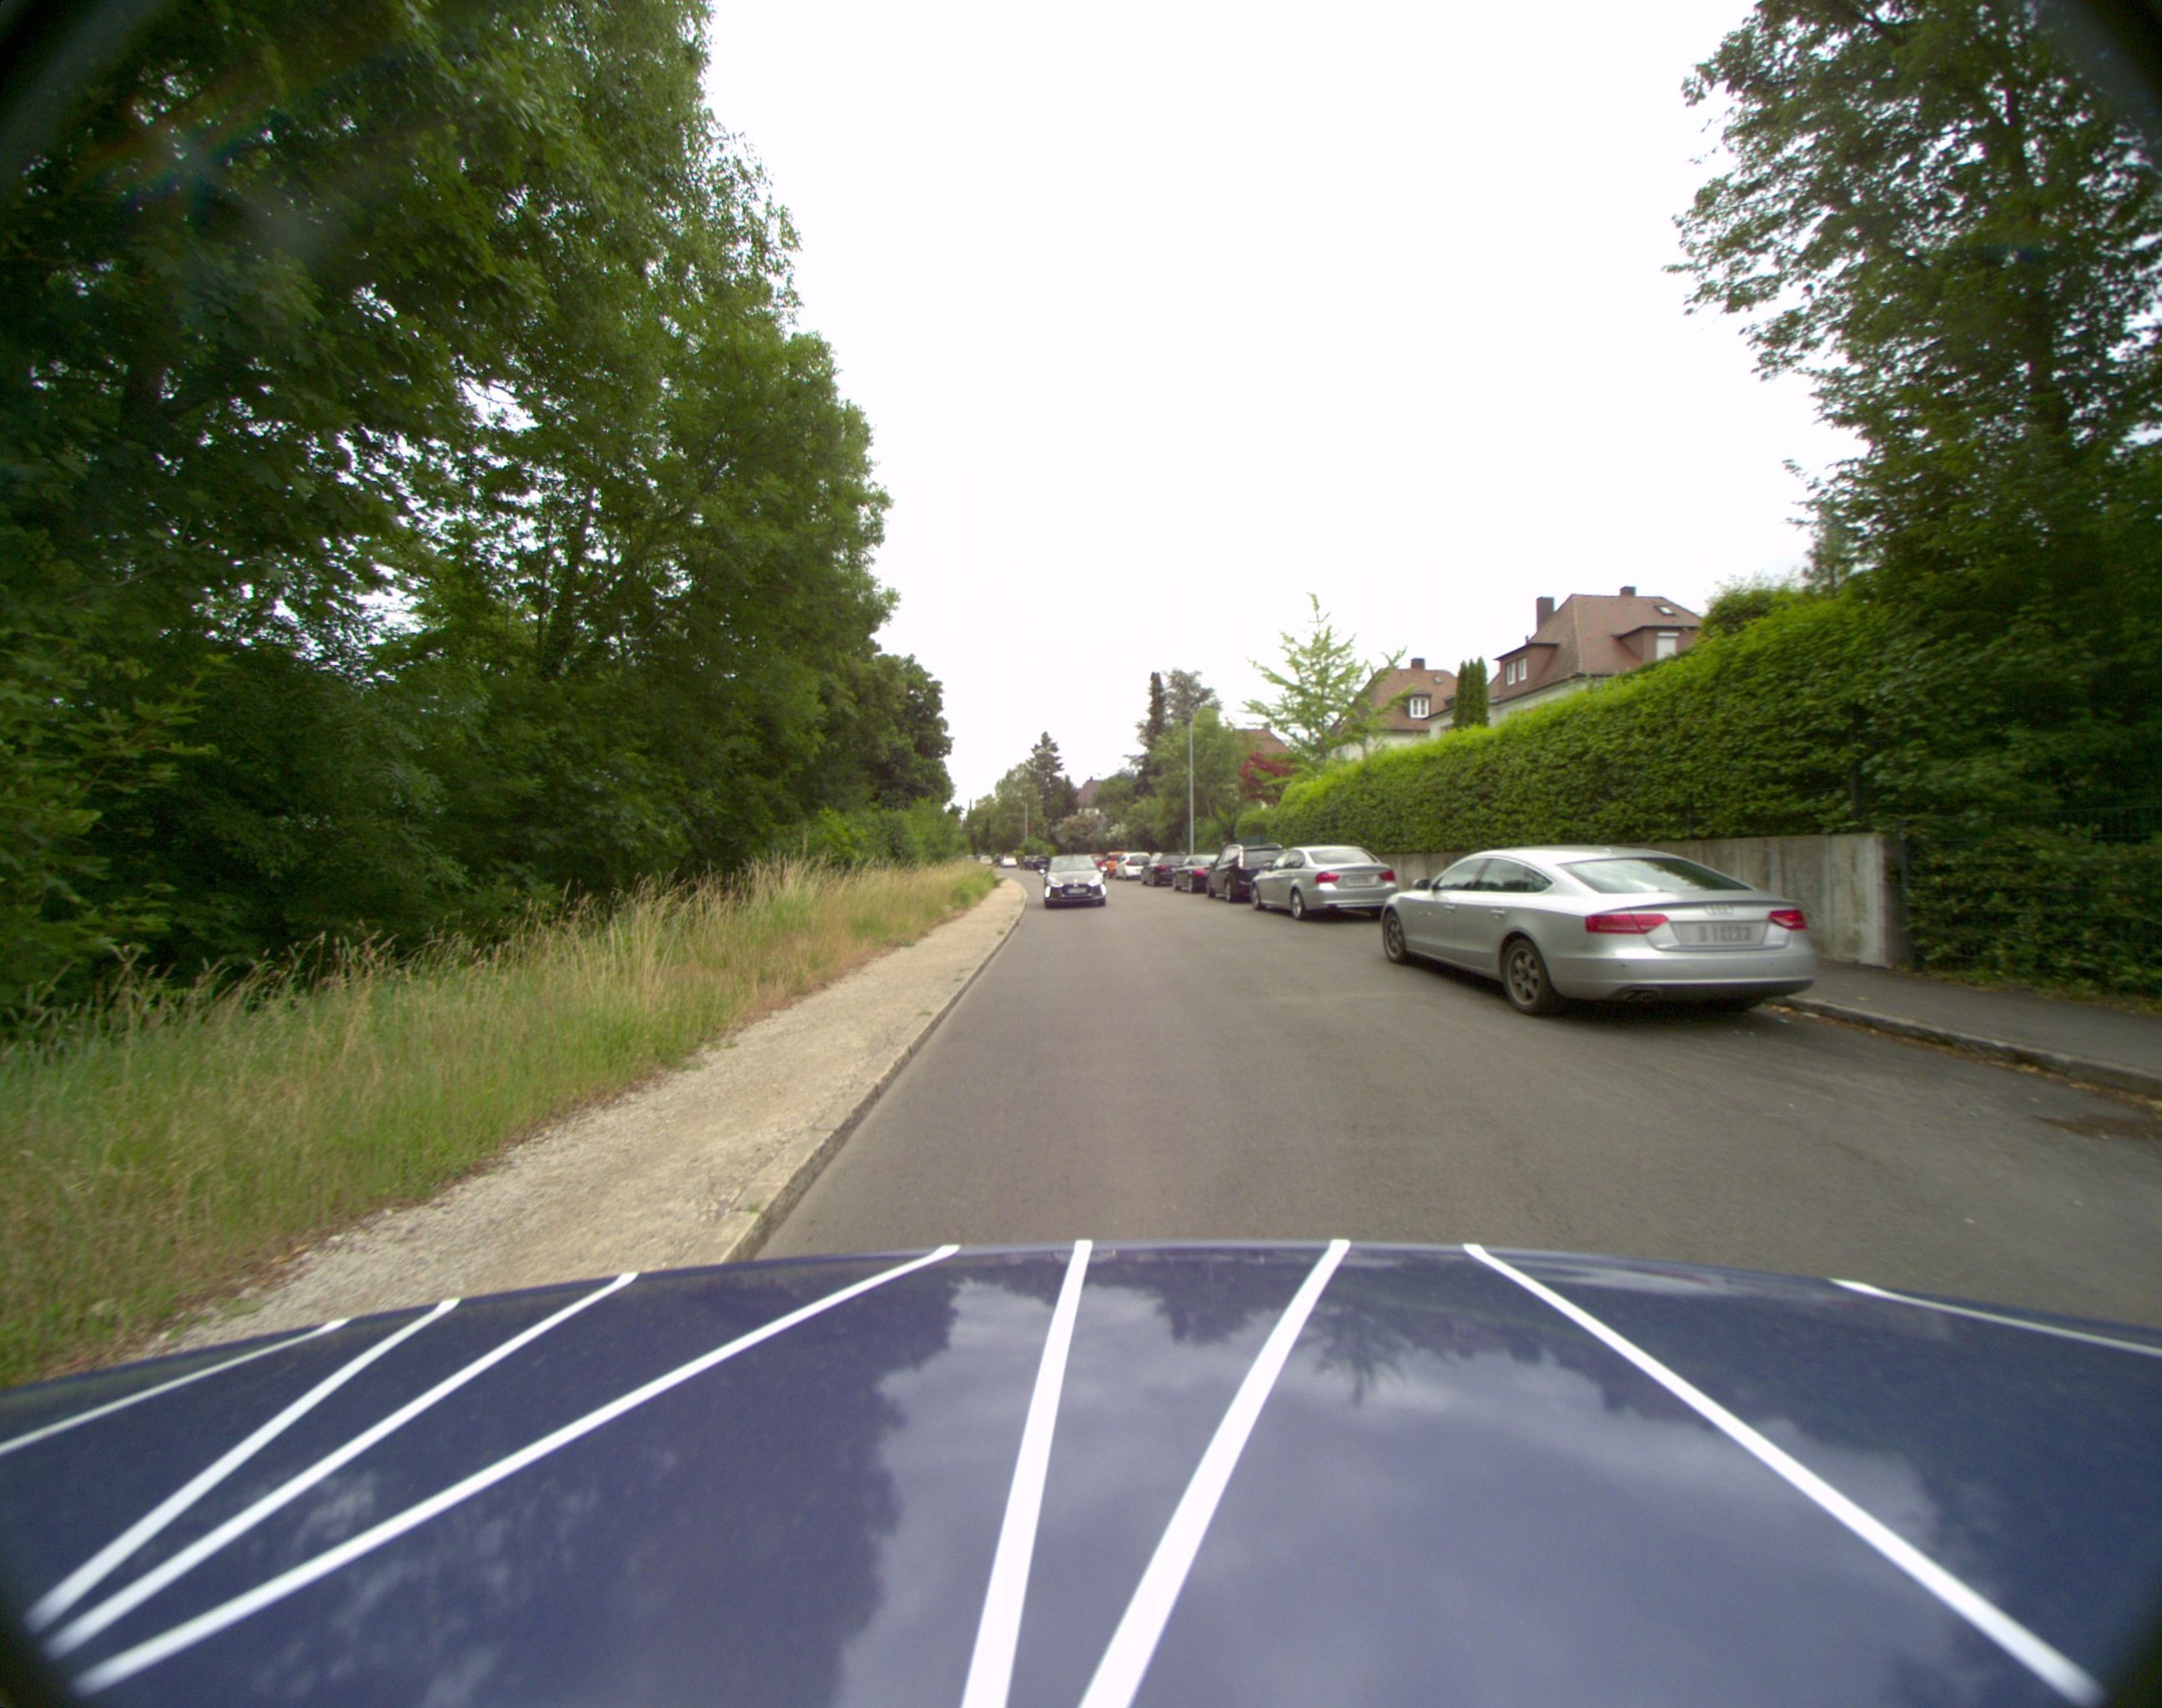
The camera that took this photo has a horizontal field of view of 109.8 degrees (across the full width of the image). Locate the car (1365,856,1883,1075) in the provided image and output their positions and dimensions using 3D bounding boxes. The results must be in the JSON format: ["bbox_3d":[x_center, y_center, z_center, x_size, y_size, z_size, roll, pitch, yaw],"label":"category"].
[{"bbox_3d":[4.471,0.760,7.317,1.836,1.366,4.445,-2,0,1],"label":"car"}]

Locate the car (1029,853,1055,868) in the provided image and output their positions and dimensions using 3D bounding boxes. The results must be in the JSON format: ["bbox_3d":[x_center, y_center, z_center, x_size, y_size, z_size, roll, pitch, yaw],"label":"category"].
[{"bbox_3d":[-3.905,0.653,74.804,1.713,1.408,4.127,-2,0,-15],"label":"car"}]

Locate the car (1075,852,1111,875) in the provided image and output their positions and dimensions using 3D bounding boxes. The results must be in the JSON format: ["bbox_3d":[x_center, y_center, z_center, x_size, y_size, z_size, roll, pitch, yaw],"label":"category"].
[{"bbox_3d":[0.791,0.650,52.974,1.712,1.505,4.359,-2,0,-10],"label":"car"}]

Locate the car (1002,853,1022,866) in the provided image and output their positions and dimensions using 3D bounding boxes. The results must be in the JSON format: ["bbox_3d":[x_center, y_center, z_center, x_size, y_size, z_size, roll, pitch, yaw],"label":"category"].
[{"bbox_3d":[-8.561,0.649,93.846,1.713,1.502,3.941,-2,0,-15],"label":"car"}]

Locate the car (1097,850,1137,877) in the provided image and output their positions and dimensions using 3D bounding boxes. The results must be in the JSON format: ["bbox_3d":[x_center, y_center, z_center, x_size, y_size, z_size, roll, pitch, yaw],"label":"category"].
[{"bbox_3d":[2.100,0.539,45.206,1.549,1.505,3.640,-2,0,-10],"label":"car"}]

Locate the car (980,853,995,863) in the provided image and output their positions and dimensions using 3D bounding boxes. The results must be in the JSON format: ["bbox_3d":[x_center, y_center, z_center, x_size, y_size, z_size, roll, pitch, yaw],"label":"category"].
[{"bbox_3d":[-13.947,0.567,113.275,1.713,1.502,4.549,-2,0,-13],"label":"car"}]

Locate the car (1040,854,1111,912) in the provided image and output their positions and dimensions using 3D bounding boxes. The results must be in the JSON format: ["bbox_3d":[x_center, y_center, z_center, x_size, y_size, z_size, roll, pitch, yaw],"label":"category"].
[{"bbox_3d":[-0.256,0.764,22.144,1.712,1.466,4.193,-2,0,-5],"label":"car"}]

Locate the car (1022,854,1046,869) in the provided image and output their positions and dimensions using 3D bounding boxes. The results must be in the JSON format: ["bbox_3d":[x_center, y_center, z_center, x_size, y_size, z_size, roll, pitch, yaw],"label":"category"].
[{"bbox_3d":[-4.963,0.775,79.541,1.713,1.408,4.144,-2,0,-15],"label":"car"}]

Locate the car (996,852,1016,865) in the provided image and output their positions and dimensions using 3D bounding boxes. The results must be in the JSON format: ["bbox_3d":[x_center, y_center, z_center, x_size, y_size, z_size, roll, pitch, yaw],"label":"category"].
[{"bbox_3d":[-9.723,0.563,98.437,1.798,1.654,4.386,-2,0,-15],"label":"car"}]

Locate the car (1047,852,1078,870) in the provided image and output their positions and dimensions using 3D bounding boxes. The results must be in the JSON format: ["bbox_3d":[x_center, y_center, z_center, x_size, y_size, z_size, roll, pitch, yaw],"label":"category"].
[{"bbox_3d":[-1.599,0.576,63.878,1.713,1.402,4.155,-2,0,-15],"label":"car"}]

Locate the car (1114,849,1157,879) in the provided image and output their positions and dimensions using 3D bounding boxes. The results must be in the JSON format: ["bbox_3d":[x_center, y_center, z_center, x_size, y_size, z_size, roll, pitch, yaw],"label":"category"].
[{"bbox_3d":[2.876,0.525,40.915,1.593,1.505,3.587,-2,0,-8],"label":"car"}]

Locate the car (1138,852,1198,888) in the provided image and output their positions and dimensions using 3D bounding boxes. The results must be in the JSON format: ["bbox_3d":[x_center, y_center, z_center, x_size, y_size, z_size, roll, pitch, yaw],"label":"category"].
[{"bbox_3d":[3.688,0.640,32.995,1.723,1.377,4.661,-2,0,-5],"label":"car"}]

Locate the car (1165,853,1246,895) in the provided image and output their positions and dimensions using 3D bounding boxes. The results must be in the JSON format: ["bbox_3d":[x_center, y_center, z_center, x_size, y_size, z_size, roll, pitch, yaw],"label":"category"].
[{"bbox_3d":[4.301,0.646,26.857,1.716,1.333,4.105,-2,0,-7],"label":"car"}]

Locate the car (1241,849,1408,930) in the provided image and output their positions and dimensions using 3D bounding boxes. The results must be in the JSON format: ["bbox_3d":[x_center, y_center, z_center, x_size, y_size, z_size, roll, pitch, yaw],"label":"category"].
[{"bbox_3d":[4.791,0.615,15.672,1.780,1.366,4.339,-2,0,-4],"label":"car"}]

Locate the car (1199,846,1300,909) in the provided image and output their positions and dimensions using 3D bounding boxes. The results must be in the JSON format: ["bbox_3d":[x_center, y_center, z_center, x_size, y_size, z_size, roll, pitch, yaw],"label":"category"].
[{"bbox_3d":[4.575,0.571,21.244,1.661,1.524,4.473,-2,0,-2],"label":"car"}]

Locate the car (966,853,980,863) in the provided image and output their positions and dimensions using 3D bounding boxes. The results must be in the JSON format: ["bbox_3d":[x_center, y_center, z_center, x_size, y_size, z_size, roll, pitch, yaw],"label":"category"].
[{"bbox_3d":[-18.773,0.708,131.683,1.802,1.598,4.724,-2,0,-15],"label":"car"}]
